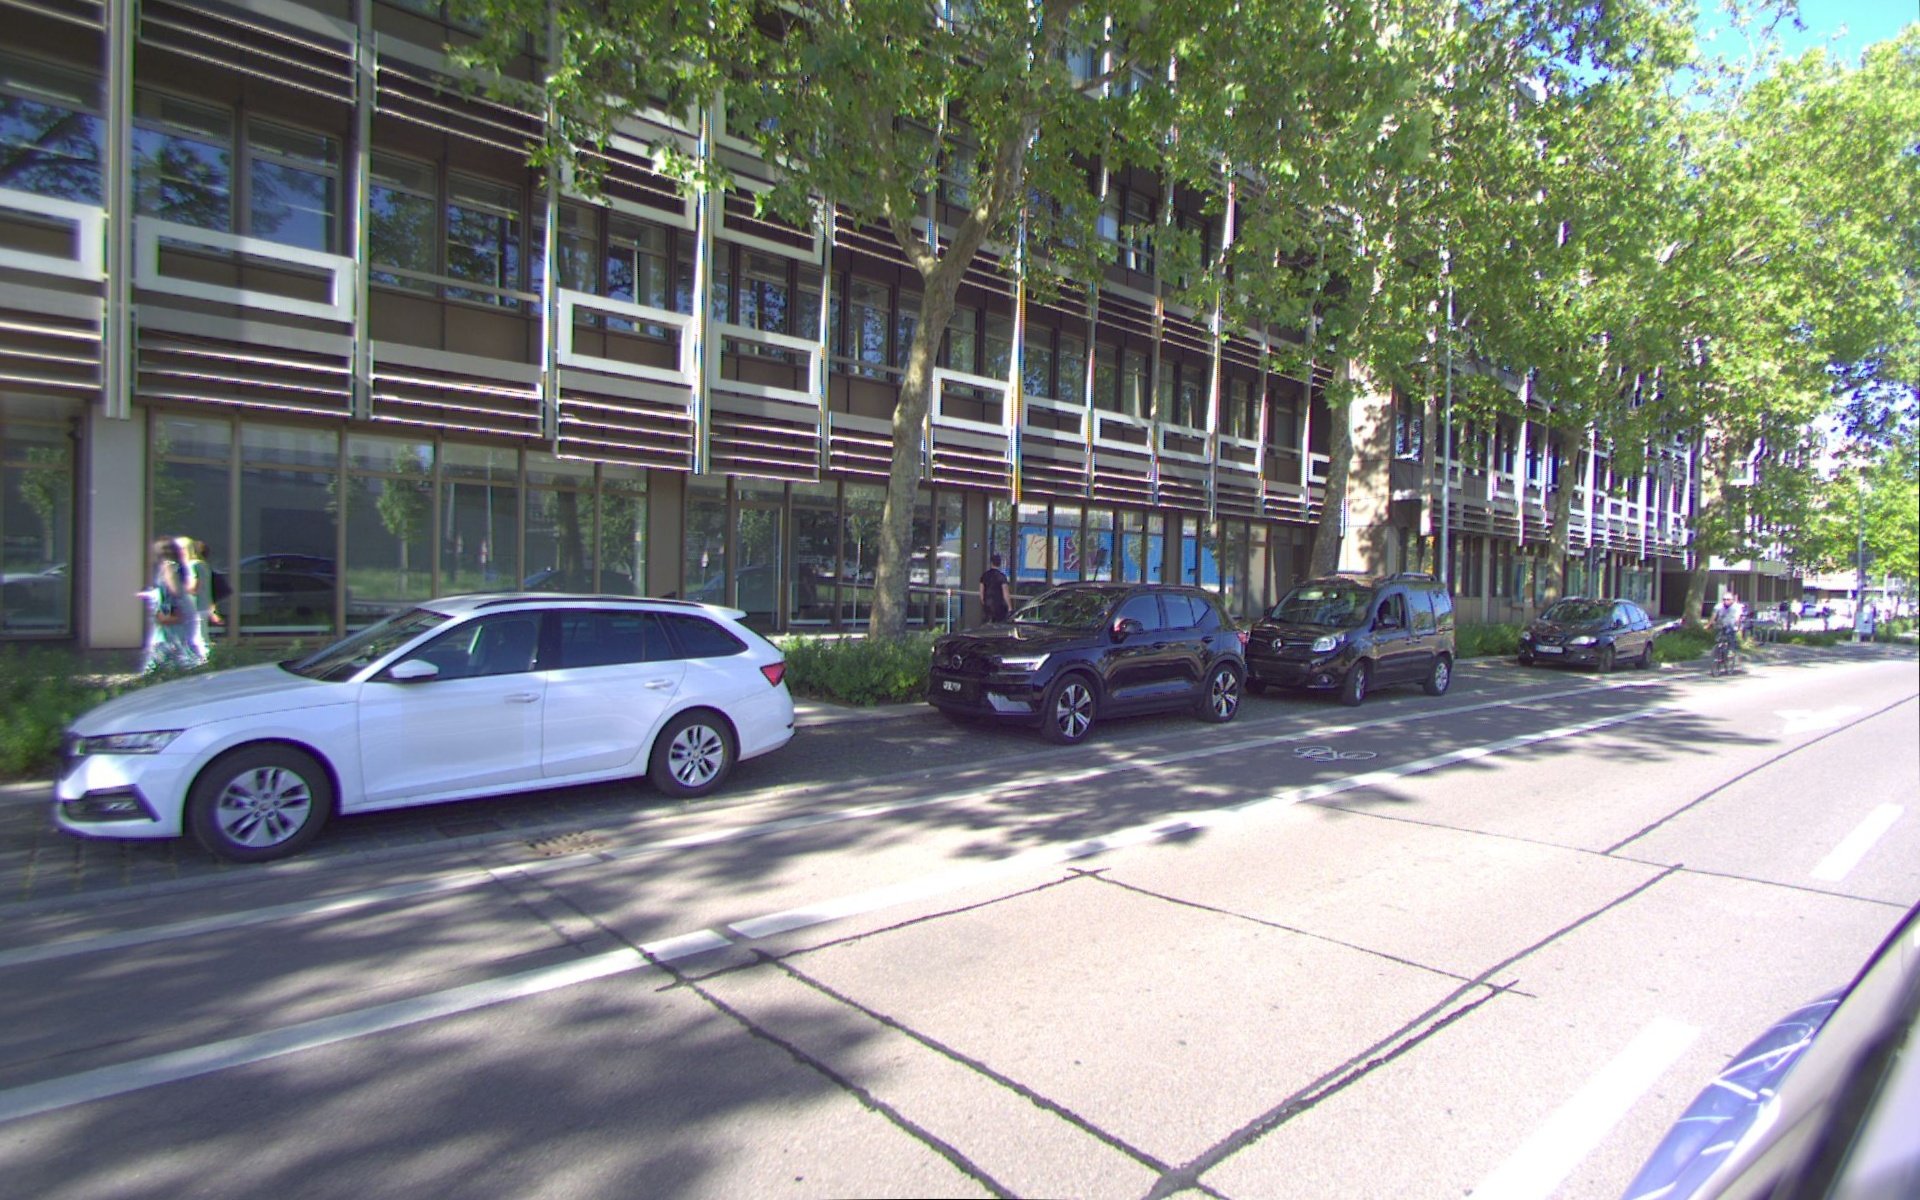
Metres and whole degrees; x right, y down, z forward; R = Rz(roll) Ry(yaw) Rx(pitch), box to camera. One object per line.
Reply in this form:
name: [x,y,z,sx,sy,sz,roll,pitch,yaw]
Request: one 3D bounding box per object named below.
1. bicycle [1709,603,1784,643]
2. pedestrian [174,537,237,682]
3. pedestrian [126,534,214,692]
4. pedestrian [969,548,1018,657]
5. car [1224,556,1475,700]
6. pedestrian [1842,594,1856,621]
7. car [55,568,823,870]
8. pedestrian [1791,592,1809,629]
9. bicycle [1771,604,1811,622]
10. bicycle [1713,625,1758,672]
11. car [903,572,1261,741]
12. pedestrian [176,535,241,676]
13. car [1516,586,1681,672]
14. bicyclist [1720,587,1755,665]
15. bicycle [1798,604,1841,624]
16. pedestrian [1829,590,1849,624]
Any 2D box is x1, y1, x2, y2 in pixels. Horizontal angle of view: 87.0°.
bicycle: [27.316,0.791,35.162,0.569,1.252,1.939,1,2,-43]
pedestrian: [-8.549,0.105,11.464,0.314,1.604,0.494,1,0,40]
pedestrian: [-8.346,0.130,10.695,0.505,1.604,0.626,1,0,41]
pedestrian: [0.605,0.040,18.436,0.547,1.941,0.678,0,-1,-40]
car: [5.910,0.351,15.135,4.118,1.811,1.708,1,3,-41]
pedestrian: [50.789,0.415,57.797,0.723,1.493,0.511,1,0,-42]
car: [-3.353,0.590,7.194,4.519,1.511,1.707,1,1,-41]
pedestrian: [40.047,0.493,48.245,0.760,1.722,0.511,1,0,-42]
bicycle: [52.057,0.811,63.434,0.419,1.023,1.863,1,3,-39]
bicycle: [16.542,1.019,21.568,0.497,0.917,2.161,-1,-1,44]
car: [1.507,0.512,11.487,4.119,1.583,1.707,0,1,-41]
pedestrian: [-8.915,0.058,12.008,0.563,1.623,0.554,1,0,-41]
car: [14.361,0.592,22.655,4.552,1.663,1.709,1,3,-39]
bicyclist: [16.602,0.538,21.616,0.513,1.621,0.528,2,1,45]
bicycle: [52.124,0.832,61.378,0.419,1.111,1.863,1,3,-39]
pedestrian: [45.442,0.373,52.305,0.789,1.749,0.648,1,0,-42]
